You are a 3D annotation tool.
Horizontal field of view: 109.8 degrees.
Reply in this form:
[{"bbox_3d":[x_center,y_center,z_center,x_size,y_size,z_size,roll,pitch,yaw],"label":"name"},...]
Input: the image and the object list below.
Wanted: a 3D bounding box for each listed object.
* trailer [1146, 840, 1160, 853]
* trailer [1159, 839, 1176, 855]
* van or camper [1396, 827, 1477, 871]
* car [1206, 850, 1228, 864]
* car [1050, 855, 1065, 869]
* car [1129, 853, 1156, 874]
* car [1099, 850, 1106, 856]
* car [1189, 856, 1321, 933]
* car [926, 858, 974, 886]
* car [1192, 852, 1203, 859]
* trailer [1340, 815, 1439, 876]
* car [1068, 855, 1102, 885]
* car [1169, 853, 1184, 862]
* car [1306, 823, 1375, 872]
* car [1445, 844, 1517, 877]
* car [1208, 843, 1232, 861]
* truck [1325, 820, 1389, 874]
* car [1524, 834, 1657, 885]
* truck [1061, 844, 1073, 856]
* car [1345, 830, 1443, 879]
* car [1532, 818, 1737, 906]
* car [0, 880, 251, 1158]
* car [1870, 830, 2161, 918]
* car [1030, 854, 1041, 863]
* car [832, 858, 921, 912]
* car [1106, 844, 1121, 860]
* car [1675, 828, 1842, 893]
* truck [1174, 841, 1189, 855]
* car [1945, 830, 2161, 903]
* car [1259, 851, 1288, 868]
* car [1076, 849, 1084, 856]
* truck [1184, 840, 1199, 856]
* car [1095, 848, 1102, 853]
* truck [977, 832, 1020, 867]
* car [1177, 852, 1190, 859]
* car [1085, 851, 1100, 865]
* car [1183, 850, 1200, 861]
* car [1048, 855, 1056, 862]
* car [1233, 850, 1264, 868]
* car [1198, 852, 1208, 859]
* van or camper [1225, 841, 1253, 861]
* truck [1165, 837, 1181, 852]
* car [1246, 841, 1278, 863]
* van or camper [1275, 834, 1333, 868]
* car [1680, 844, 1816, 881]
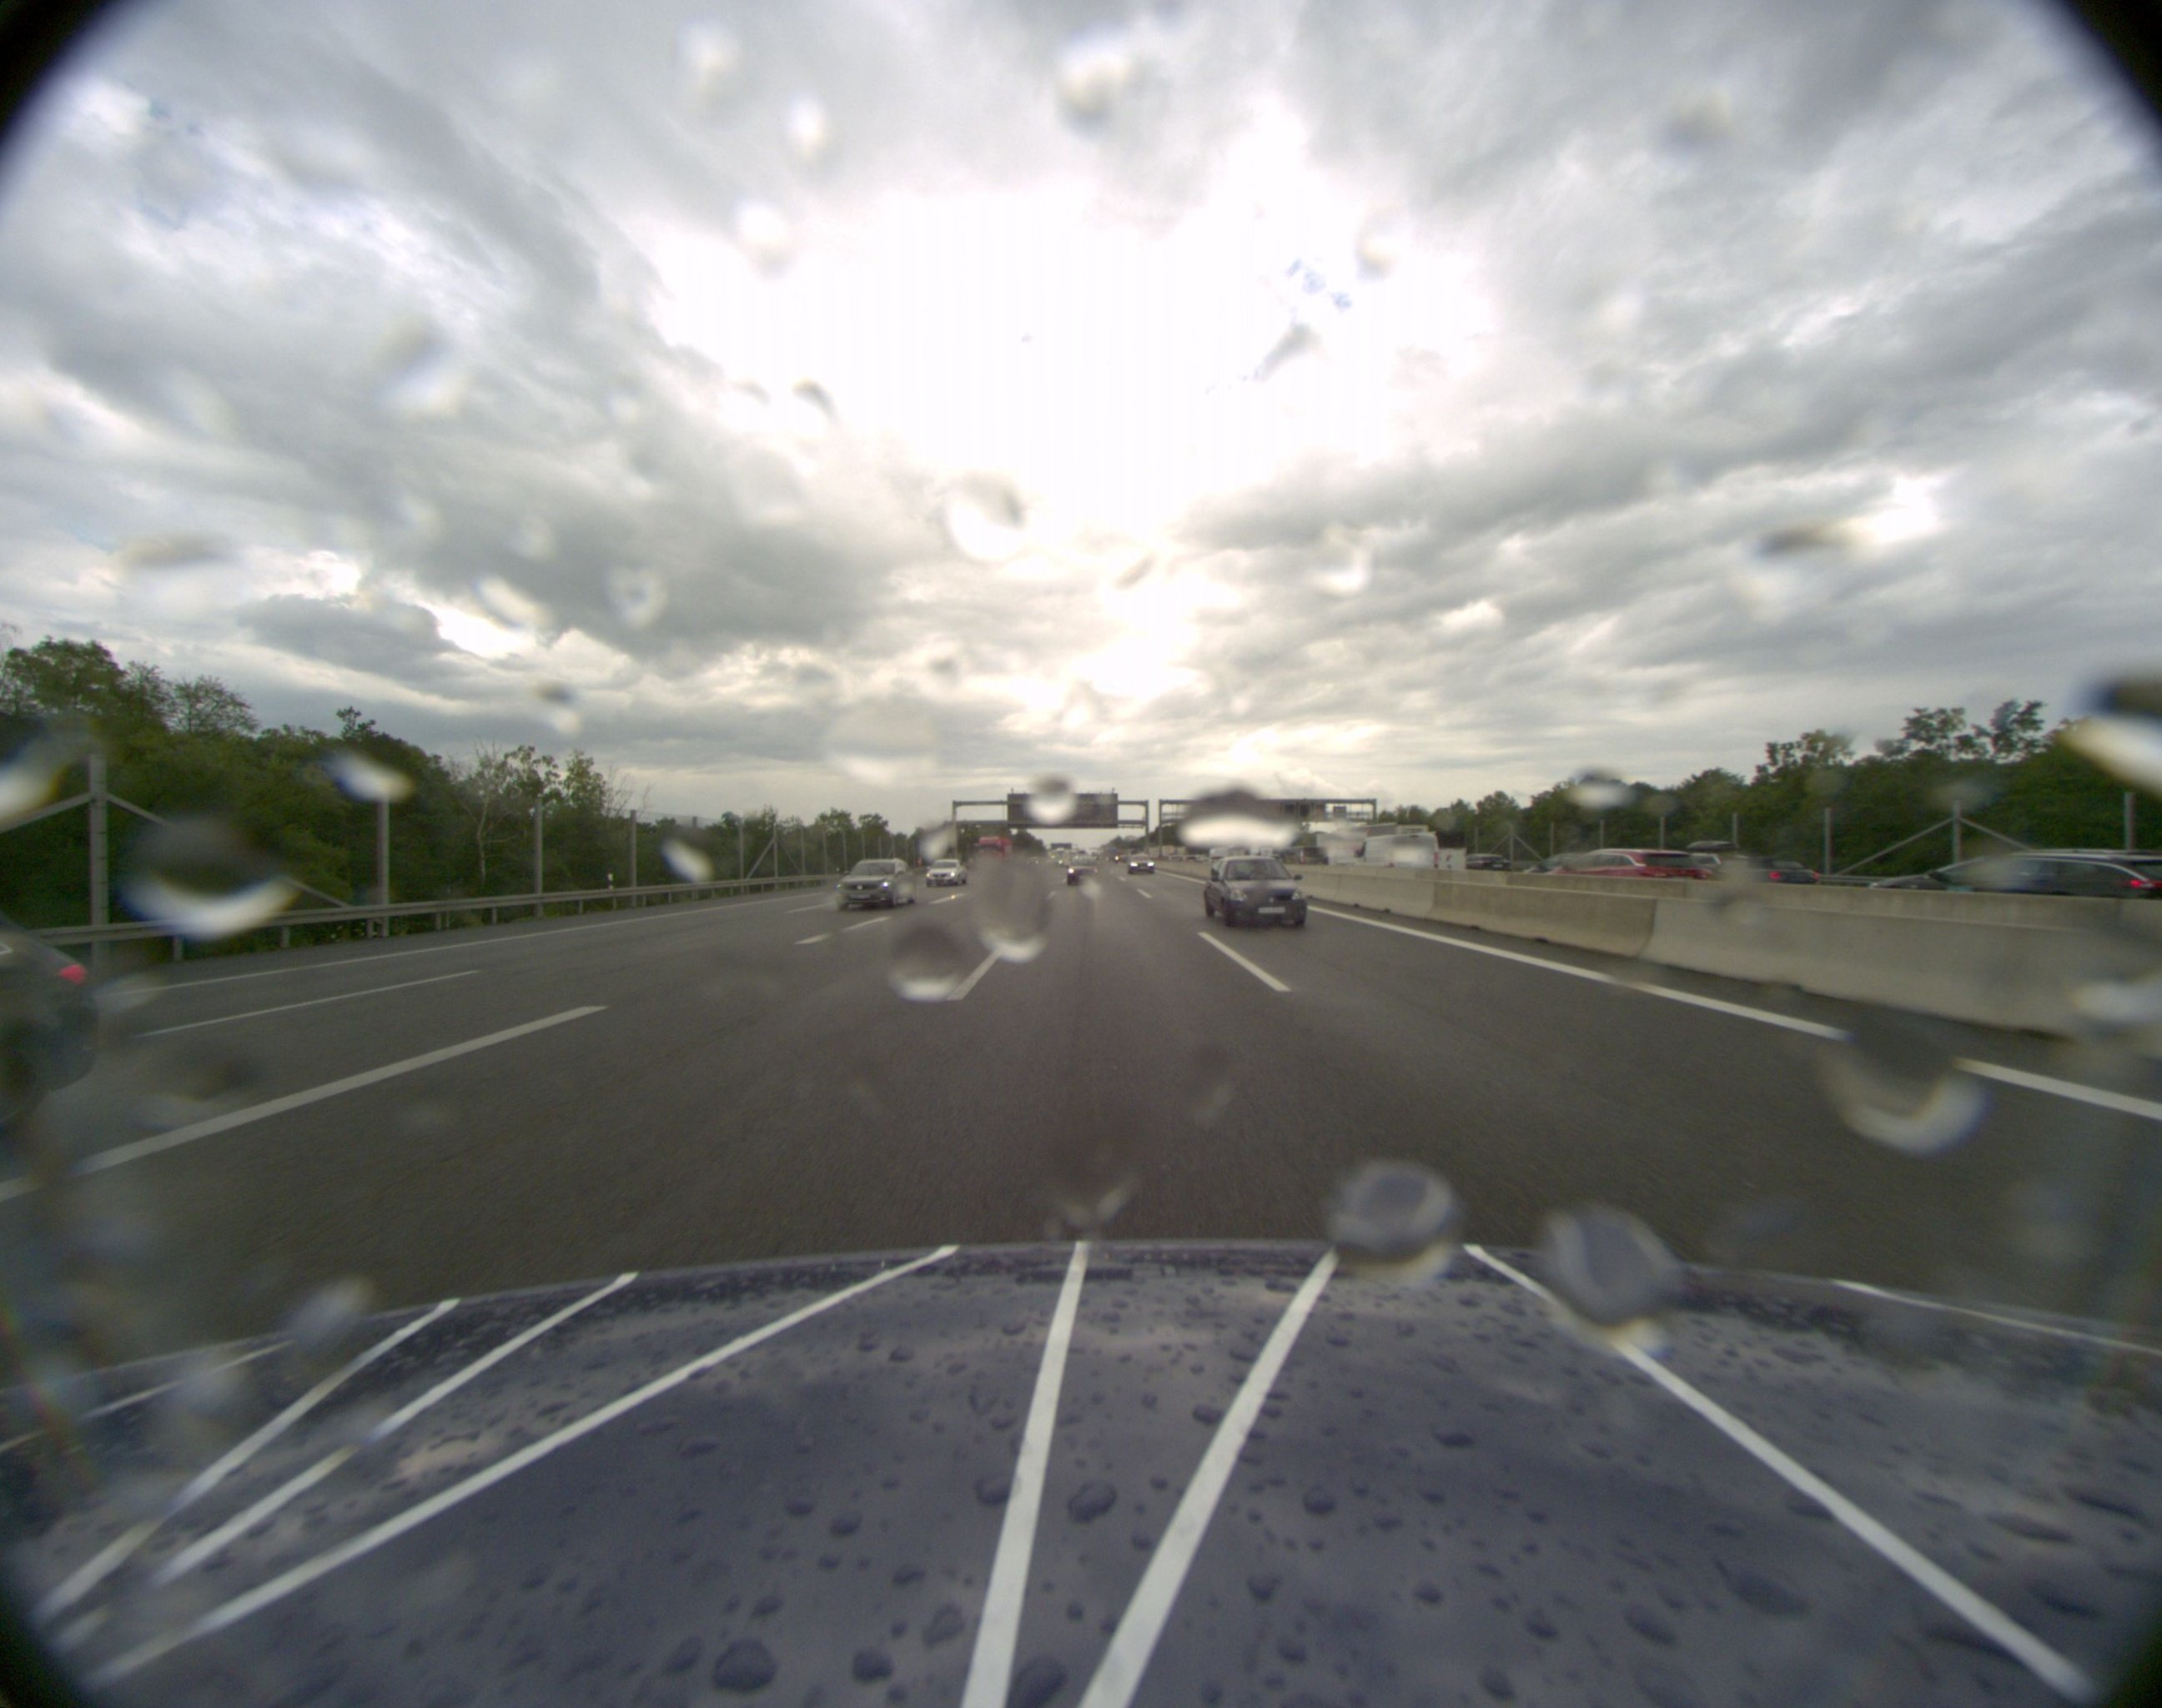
[{"bbox_3d":[23.533,-2.500,249.245,3.252,3.910,13.015,-2,0,0],"label":"trailer"},{"bbox_3d":[23.164,-1.820,204.438,3.195,4.169,11.957,-1,-1,0],"label":"trailer"},{"bbox_3d":[19.324,-0.241,41.568,2.100,2.173,4.971,-2,0,1],"label":"van or camper"},{"bbox_3d":[15.163,0.372,84.954,1.762,1.489,4.394,-2,0,1],"label":"car"},{"bbox_3d":[-3.279,1.095,107.312,1.962,1.830,4.000,-1,0,0],"label":"car"},{"bbox_3d":[4.574,0.673,57.103,1.751,1.489,4.015,-1,0,1],"label":"car"},{"bbox_3d":[6.101,-0.250,218.259,1.998,1.790,4.899,-2,0,1],"label":"car"},{"bbox_3d":[3.649,0.773,16.908,1.781,1.399,5.016,-1,0,0],"label":"car"},{"bbox_3d":[-7.343,0.989,43.089,1.898,1.438,4.245,-2,0,1],"label":"car"},{"bbox_3d":[22.851,0.281,149.231,1.625,1.438,4.417,-1,-1,0],"label":"car"},{"bbox_3d":[26.907,-0.644,67.384,3.155,4.828,13.294,-2,0,-1],"label":"trailer"},{"bbox_3d":[0.277,0.783,39.933,1.668,1.431,4.405,-1,0,2],"label":"car"},{"bbox_3d":[15.916,0.628,126.526,1.707,1.383,4.505,-1,-1,-2],"label":"car"},{"bbox_3d":[18.916,-0.432,55.844,2.504,3.280,7.627,-2,0,1],"label":"car"},{"bbox_3d":[22.472,0.355,42.821,1.998,1.698,4.000,-2,0,1],"label":"car"},{"bbox_3d":[19.903,-0.280,109.025,2.208,2.474,6.065,-1,0,0],"label":"car"},{"bbox_3d":[26.843,-0.631,74.284,3.155,4.828,8.026,-2,0,-1],"label":"truck"},{"bbox_3d":[18.329,0.159,27.624,1.868,1.651,4.426,-2,0,1],"label":"car"},{"bbox_3d":[-4.820,-1.368,259.958,3.256,3.884,12.310,-2,0,-4],"label":"truck"},{"bbox_3d":[13.900,0.049,34.132,2.100,1.957,5.631,-2,0,1],"label":"car"},{"bbox_3d":[14.125,0.169,19.834,1.868,1.957,4.805,-2,0,1],"label":"car"},{"bbox_3d":[-7.416,1.003,3.262,2.110,1.596,5.066,-1,0,0],"label":"car"},{"bbox_3d":[18.908,0.317,15.188,1.804,1.494,4.351,-1,0,1],"label":"car"},{"bbox_3d":[-7.881,0.729,131.932,1.820,1.534,4.357,-1,0,-3],"label":"car"},{"bbox_3d":[-6.596,0.941,24.906,1.797,1.553,3.722,-2,0,1],"label":"car"},{"bbox_3d":[5.201,-0.288,121.469,1.999,2.354,4.171,-2,0,-1],"label":"car"},{"bbox_3d":[22.689,0.202,25.704,2.100,1.957,4.000,-2,0,1],"label":"car"},{"bbox_3d":[27.686,-1.639,209.350,2.906,3.817,10.757,-1,-1,1],"label":"truck"},{"bbox_3d":[23.233,0.240,17.745,1.597,1.494,4.000,-1,0,1],"label":"car"},{"bbox_3d":[19.320,0.553,76.331,1.806,1.612,4.280,-2,0,1],"label":"car"},{"bbox_3d":[-0.378,-0.478,216.376,1.999,2.002,3.507,-2,0,-2],"label":"car"},{"bbox_3d":[26.558,-1.425,182.972,2.470,3.516,7.807,-1,0,0],"label":"truck"},{"bbox_3d":[5.677,-1.110,251.620,1.999,1.635,3.999,-2,0,-2],"label":"car"},{"bbox_3d":[-10.165,-0.478,95.779,3.160,3.979,15.638,-1,0,1],"label":"truck"},{"bbox_3d":[20.187,0.342,150.339,1.894,1.332,4.564,-1,-1,0],"label":"car"},{"bbox_3d":[1.692,0.565,109.570,2.134,1.830,4.000,-1,0,0],"label":"car"},{"bbox_3d":[15.536,0.238,106.807,1.763,1.429,4.393,-2,0,0],"label":"car"},{"bbox_3d":[-6.391,0.951,167.694,1.782,1.438,4.587,-1,0,-2],"label":"car"},{"bbox_3d":[14.829,0.402,67.425,1.646,1.484,4.934,-2,0,1],"label":"car"},{"bbox_3d":[26.906,0.271,167.228,1.587,1.418,4.003,-1,-1,0],"label":"car"},{"bbox_3d":[23.537,-0.456,113.408,2.590,2.830,6.213,-1,0,-2],"label":"van or camper"},{"bbox_3d":[28.278,-2.900,235.379,2.655,3.997,17.747,-1,-1,0],"label":"truck"},{"bbox_3d":[22.774,-0.286,95.825,2.277,2.531,7.357,-2,0,0],"label":"car"},{"bbox_3d":[14.600,-0.197,50.076,1.998,2.002,6.346,-2,0,1],"label":"van or camper"},{"bbox_3d":[26.279,0.317,30.121,1.894,1.314,4.000,-2,0,1],"label":"car"}]
